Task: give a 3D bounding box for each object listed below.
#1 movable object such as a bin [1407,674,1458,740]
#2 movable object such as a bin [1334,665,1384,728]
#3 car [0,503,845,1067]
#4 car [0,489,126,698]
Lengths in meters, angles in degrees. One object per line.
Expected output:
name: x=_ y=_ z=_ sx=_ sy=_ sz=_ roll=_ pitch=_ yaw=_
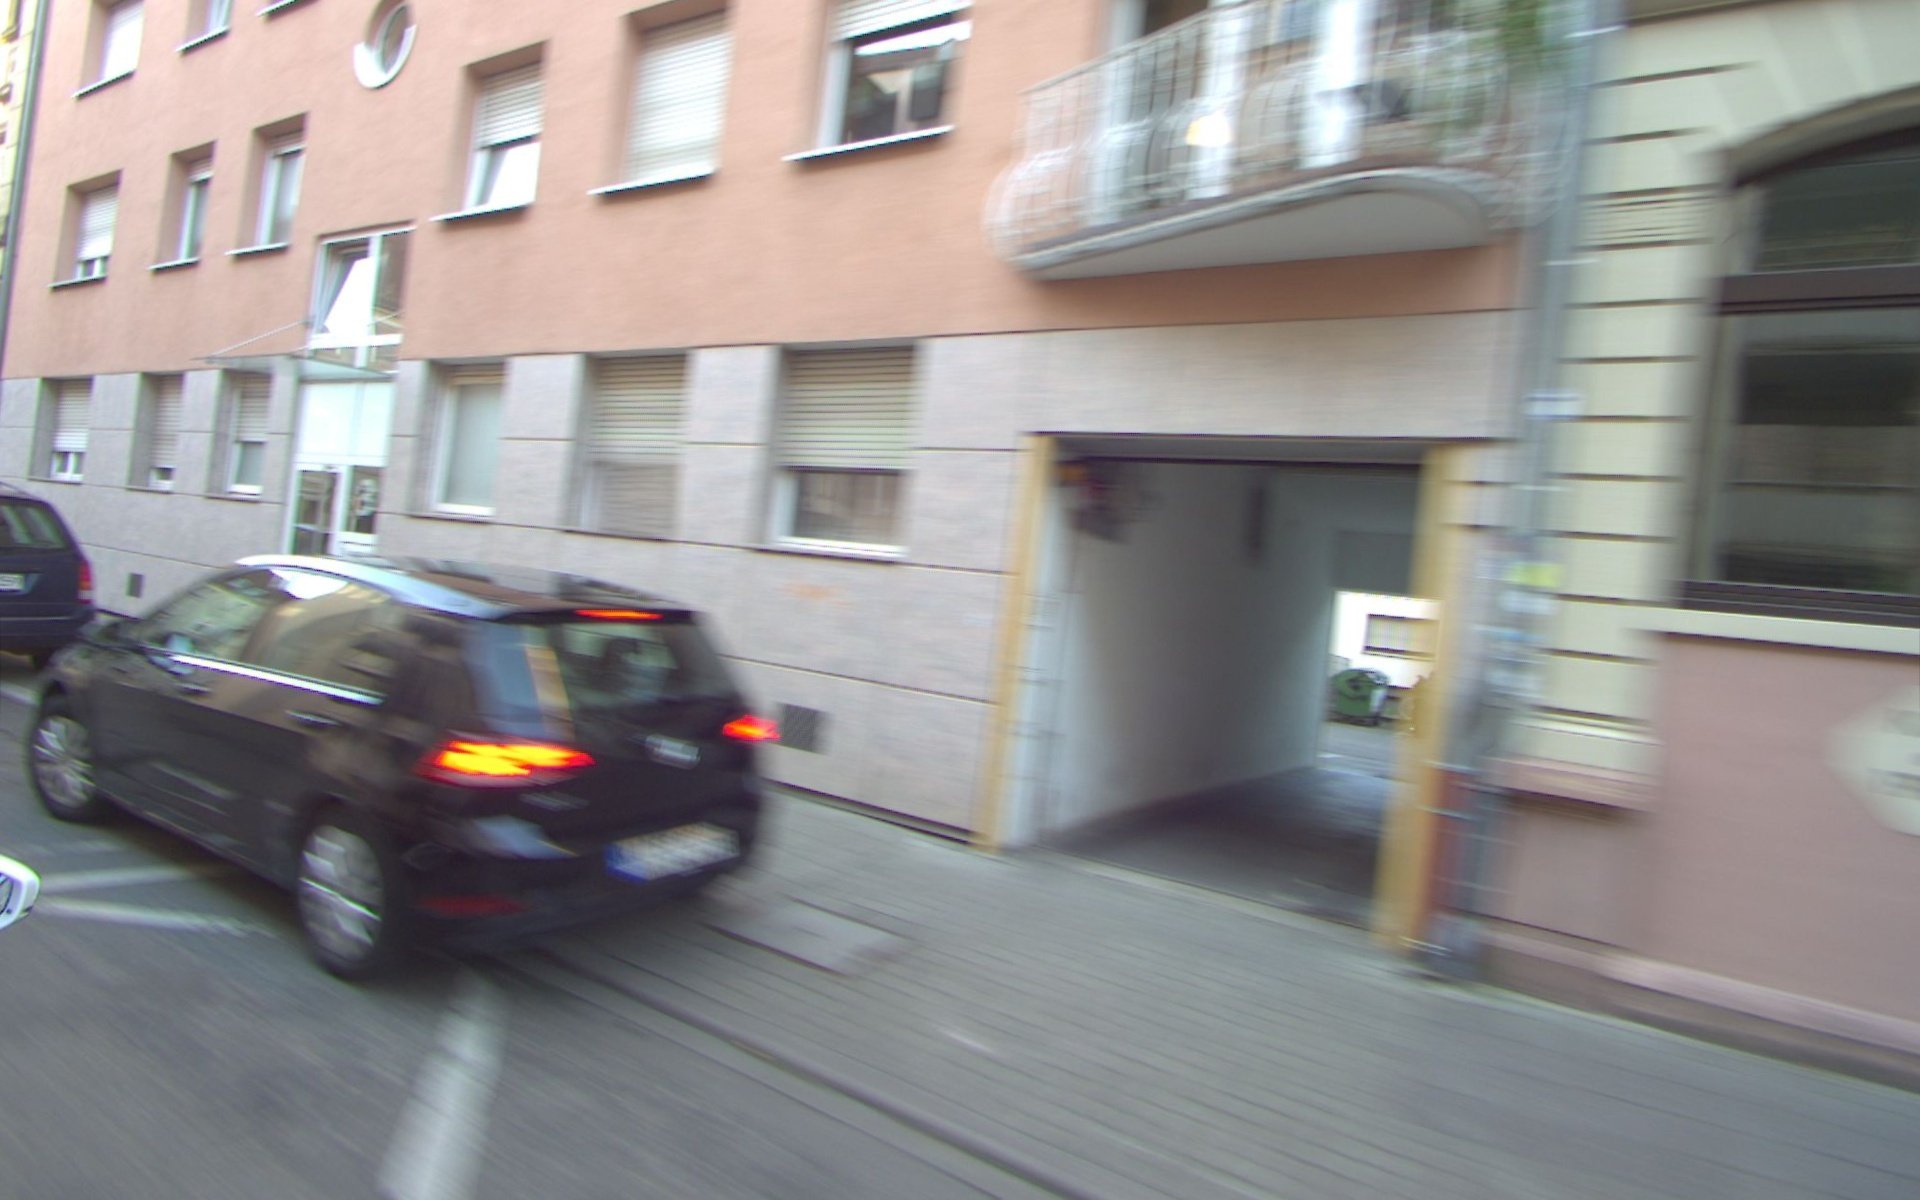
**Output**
movable object such as a bin: x=11.842 y=2.662 z=25.215 sx=0.976 sy=1.475 sz=1.009 roll=7 pitch=0 yaw=27
movable object such as a bin: x=10.375 y=2.491 z=26.129 sx=0.976 sy=1.475 sz=1.009 roll=7 pitch=0 yaw=27
car: x=-2.742 y=0.516 z=4.749 sx=4.063 sy=1.475 sz=1.692 roll=7 pitch=-1 yaw=31
car: x=-8.934 y=-0.266 z=8.369 sx=4.211 sy=1.532 sz=1.692 roll=7 pitch=-1 yaw=31
